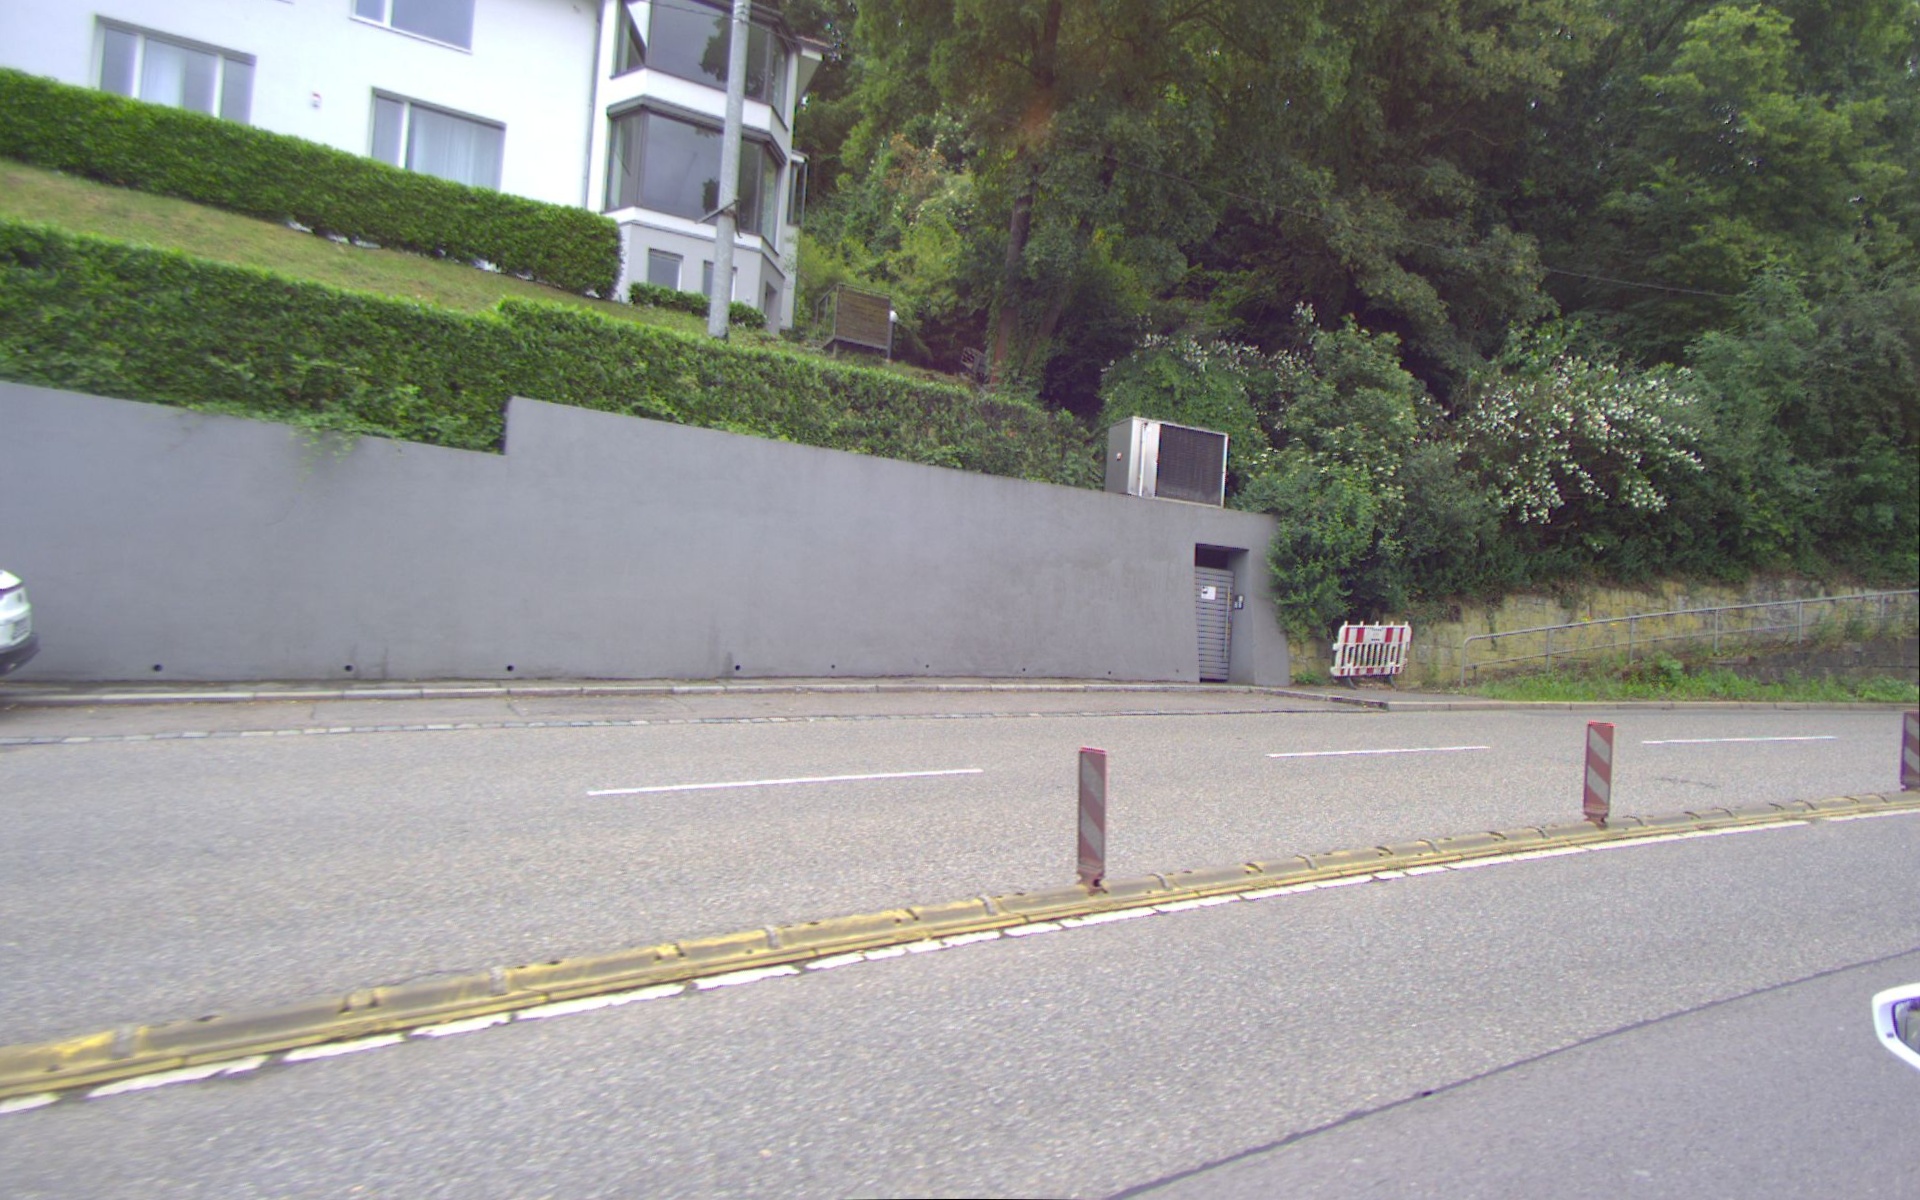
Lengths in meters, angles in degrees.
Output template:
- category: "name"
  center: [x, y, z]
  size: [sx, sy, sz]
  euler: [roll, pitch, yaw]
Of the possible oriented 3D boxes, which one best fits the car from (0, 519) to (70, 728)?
- category: "car"
  center: [-9.528, 0.064, 7.220]
  size: [4.430, 1.593, 1.821]
  euler: [2, 1, -35]
